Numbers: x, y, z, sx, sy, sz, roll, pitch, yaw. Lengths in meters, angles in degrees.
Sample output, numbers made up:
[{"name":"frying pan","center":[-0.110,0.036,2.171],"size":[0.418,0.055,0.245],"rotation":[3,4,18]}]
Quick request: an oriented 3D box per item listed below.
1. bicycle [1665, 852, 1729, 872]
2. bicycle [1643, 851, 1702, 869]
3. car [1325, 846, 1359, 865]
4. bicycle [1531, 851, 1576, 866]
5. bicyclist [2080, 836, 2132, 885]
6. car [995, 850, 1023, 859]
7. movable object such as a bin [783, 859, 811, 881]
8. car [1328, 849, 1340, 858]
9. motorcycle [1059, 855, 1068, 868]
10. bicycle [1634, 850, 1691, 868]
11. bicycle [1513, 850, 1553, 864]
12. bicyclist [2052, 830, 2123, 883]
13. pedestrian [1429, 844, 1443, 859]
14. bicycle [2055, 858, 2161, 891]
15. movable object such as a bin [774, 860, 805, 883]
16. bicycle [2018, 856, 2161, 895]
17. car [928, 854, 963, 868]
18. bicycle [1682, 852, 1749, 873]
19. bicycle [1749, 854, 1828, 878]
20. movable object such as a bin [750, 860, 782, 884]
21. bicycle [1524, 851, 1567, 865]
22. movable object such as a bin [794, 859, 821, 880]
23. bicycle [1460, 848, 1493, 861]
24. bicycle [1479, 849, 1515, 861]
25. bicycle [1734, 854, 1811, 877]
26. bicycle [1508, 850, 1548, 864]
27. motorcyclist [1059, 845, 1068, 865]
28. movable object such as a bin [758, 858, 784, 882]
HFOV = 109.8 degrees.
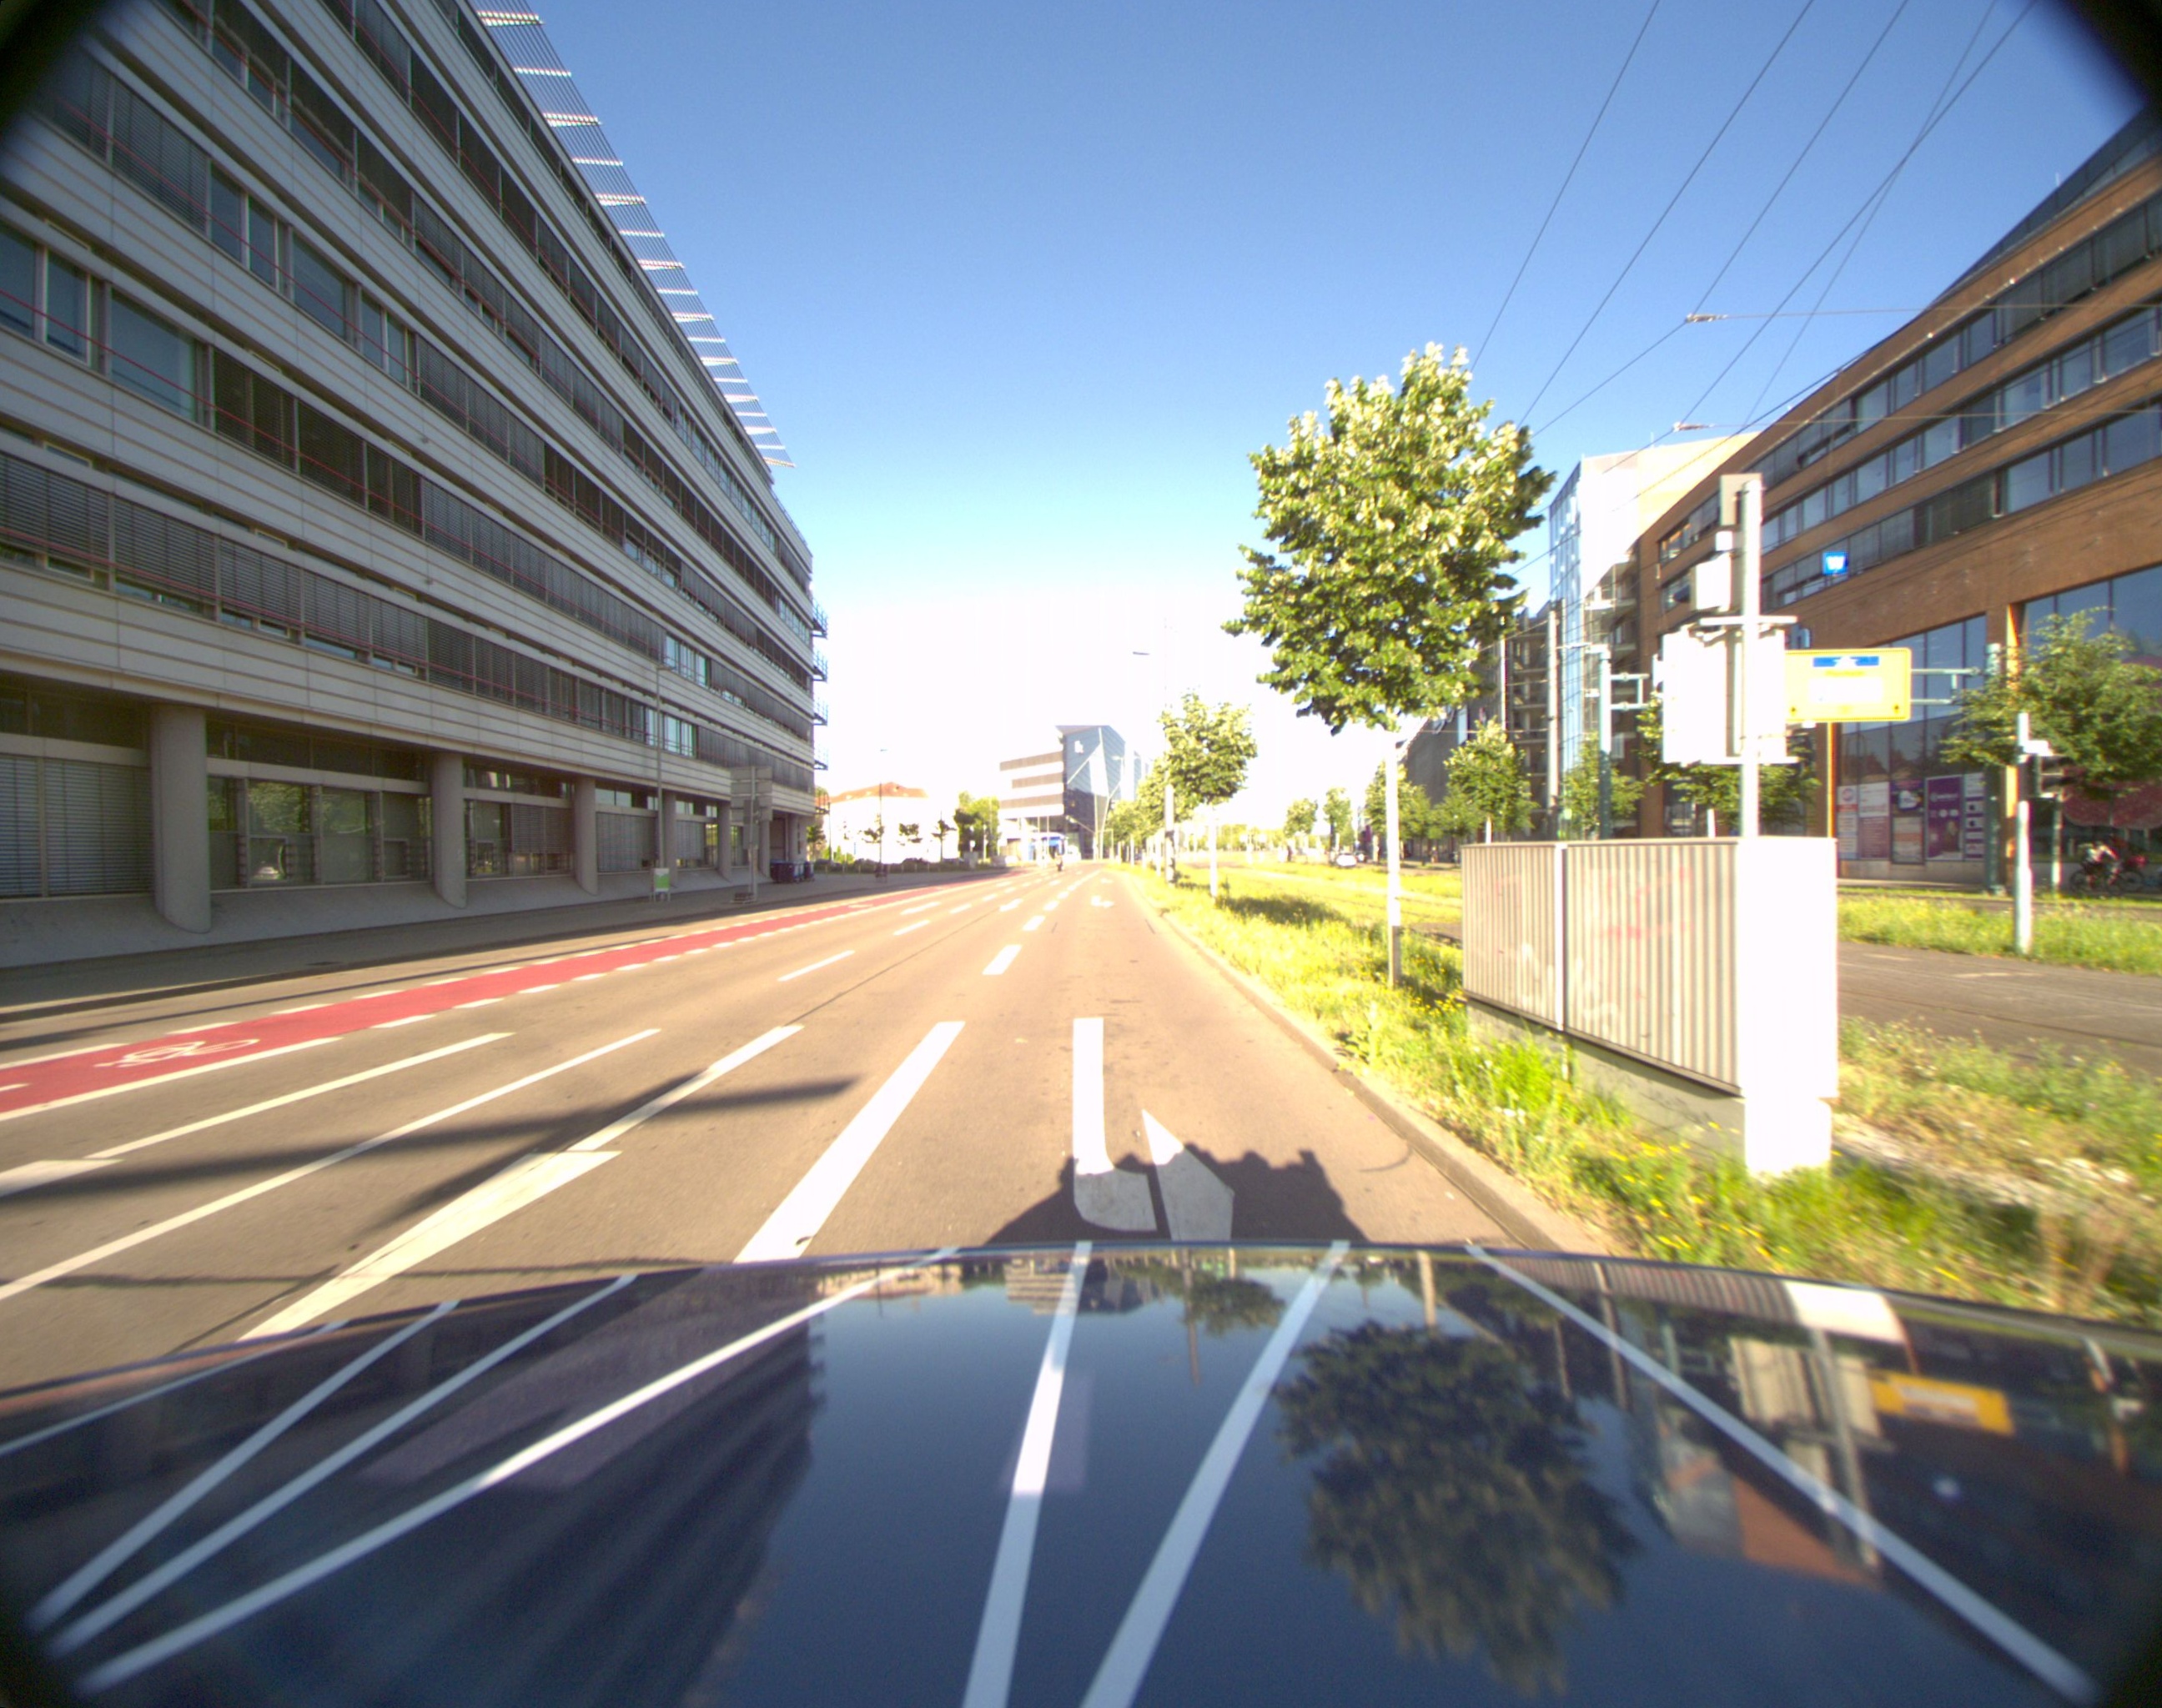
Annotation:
[{"name":"bicycle","center":[34.796,0.447,42.943],"size":[2.687,1.097,0.897],"rotation":[-1,0,11]},{"name":"bicycle","center":[35.651,0.367,45.803],"size":[2.687,1.097,0.897],"rotation":[-1,0,11]},{"name":"car","center":[22.313,0.095,65.103],"size":[1.625,1.519,4.805],"rotation":[-1,0,6]},{"name":"bicycle","center":[35.325,0.350,56.829],"size":[2.687,1.097,0.897],"rotation":[-1,0,11]},{"name":"bicyclist","center":[32.372,0.211,23.999],"size":[0.691,1.521,0.703],"rotation":[-1,1,0]},{"name":"car","center":[-11.935,0.061,126.866],"size":[4.348,1.519,1.680],"rotation":[0,1,12]},{"name":"movable object such as a bin","center":[-17.695,0.987,47.370],"size":[1.173,1.294,1.329],"rotation":[-1,1,1]},{"name":"car","center":[42.549,-0.051,127.537],"size":[1.623,1.519,4.362],"rotation":[0,0,22]},{"name":"motorcycle","center":[-1.643,0.692,70.862],"size":[0.821,1.214,2.255],"rotation":[0,1,-2]},{"name":"bicycle","center":[35.894,0.303,46.962],"size":[2.687,1.097,0.897],"rotation":[-1,0,11]},{"name":"bicycle","center":[36.483,0.246,61.369],"size":[2.687,1.097,0.826],"rotation":[-1,0,11]},{"name":"bicyclist","center":[30.419,0.078,22.977],"size":[0.895,1.539,0.939],"rotation":[-1,0,1]},{"name":"pedestrian","center":[39.176,-0.262,83.852],"size":[1.072,1.671,1.095],"rotation":[-1,1,-5]},{"name":"bicycle","center":[32.382,0.617,23.947],"size":[0.691,0.944,2.067],"rotation":[-1,1,0]},{"name":"movable object such as a bin","center":[-16.929,0.998,44.166],"size":[1.328,1.294,1.174],"rotation":[-1,1,1]},{"name":"bicycle","center":[30.426,0.622,22.978],"size":[0.895,1.097,2.692],"rotation":[-1,0,2]},{"name":"car","center":[-15.048,0.753,84.312],"size":[3.790,1.523,1.744],"rotation":[0,1,37]},{"name":"bicycle","center":[34.718,0.467,41.605],"size":[2.687,1.097,0.897],"rotation":[-1,0,11]},{"name":"bicycle","center":[33.485,0.558,36.007],"size":[2.687,1.097,0.897],"rotation":[-1,0,11]},{"name":"movable object such as a bin","center":[-18.293,1.040,44.176],"size":[1.328,1.294,1.174],"rotation":[-1,1,1]},{"name":"bicycle","center":[35.869,0.304,58.699],"size":[2.687,1.097,0.897],"rotation":[-1,0,11]},{"name":"movable object such as a bin","center":[-17.530,0.991,48.713],"size":[1.173,1.294,1.329],"rotation":[-1,1,1]},{"name":"bicycle","center":[38.247,0.074,73.480],"size":[2.687,1.182,0.897],"rotation":[-1,0,11]},{"name":"bicycle","center":[37.169,0.102,67.918],"size":[2.687,1.097,0.897],"rotation":[-1,0,11]},{"name":"bicycle","center":[33.688,0.563,37.034],"size":[2.687,1.097,0.897],"rotation":[-1,0,11]},{"name":"bicycle","center":[36.606,0.234,62.279],"size":[2.687,1.097,0.897],"rotation":[-1,0,11]},{"name":"motorcyclist","center":[-1.643,0.049,70.935],"size":[0.821,1.846,1.112],"rotation":[0,1,-2]},{"name":"movable object such as a bin","center":[-18.853,0.965,46.264],"size":[1.109,1.366,1.108],"rotation":[-1,1,1]}]
